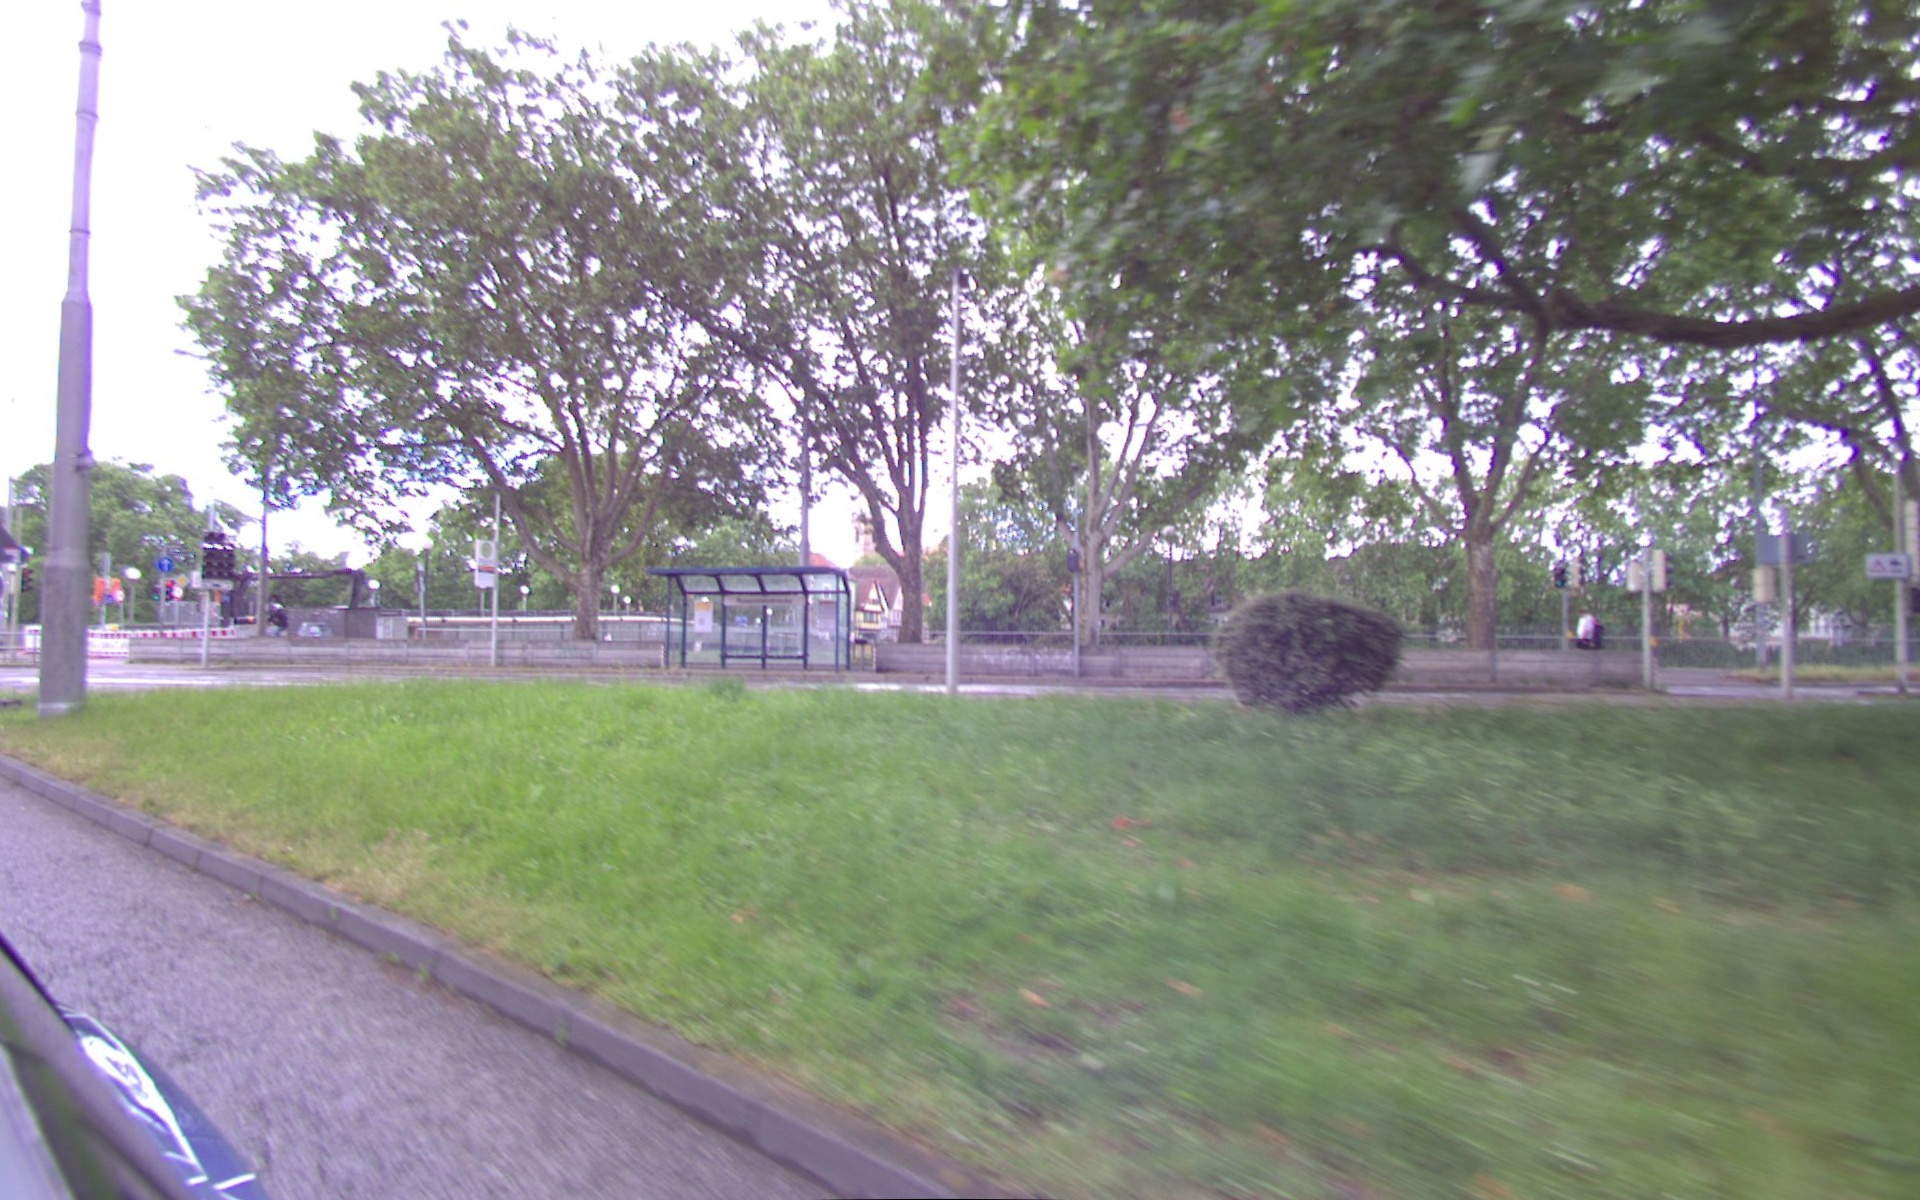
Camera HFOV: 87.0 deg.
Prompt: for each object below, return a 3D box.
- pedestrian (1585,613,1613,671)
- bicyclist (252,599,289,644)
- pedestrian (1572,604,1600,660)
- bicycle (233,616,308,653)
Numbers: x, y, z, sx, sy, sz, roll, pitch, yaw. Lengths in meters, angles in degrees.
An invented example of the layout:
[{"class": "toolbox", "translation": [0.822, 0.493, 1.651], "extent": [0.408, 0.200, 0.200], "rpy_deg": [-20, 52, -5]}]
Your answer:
[{"class": "pedestrian", "translation": [18.644, 1.222, 29.528], "extent": [0.529, 1.635, 0.500], "rpy_deg": [0, 1, 12]}, {"class": "bicyclist", "translation": [-25.970, 0.805, 38.130], "extent": [0.991, 1.663, 0.644], "rpy_deg": [0, 1, -18]}, {"class": "pedestrian", "translation": [18.774, 0.960, 30.361], "extent": [0.529, 1.635, 0.500], "rpy_deg": [0, 1, 12]}, {"class": "bicycle", "translation": [-25.956, 1.288, 38.147], "extent": [2.225, 1.287, 0.693], "rpy_deg": [0, 1, -19]}]
